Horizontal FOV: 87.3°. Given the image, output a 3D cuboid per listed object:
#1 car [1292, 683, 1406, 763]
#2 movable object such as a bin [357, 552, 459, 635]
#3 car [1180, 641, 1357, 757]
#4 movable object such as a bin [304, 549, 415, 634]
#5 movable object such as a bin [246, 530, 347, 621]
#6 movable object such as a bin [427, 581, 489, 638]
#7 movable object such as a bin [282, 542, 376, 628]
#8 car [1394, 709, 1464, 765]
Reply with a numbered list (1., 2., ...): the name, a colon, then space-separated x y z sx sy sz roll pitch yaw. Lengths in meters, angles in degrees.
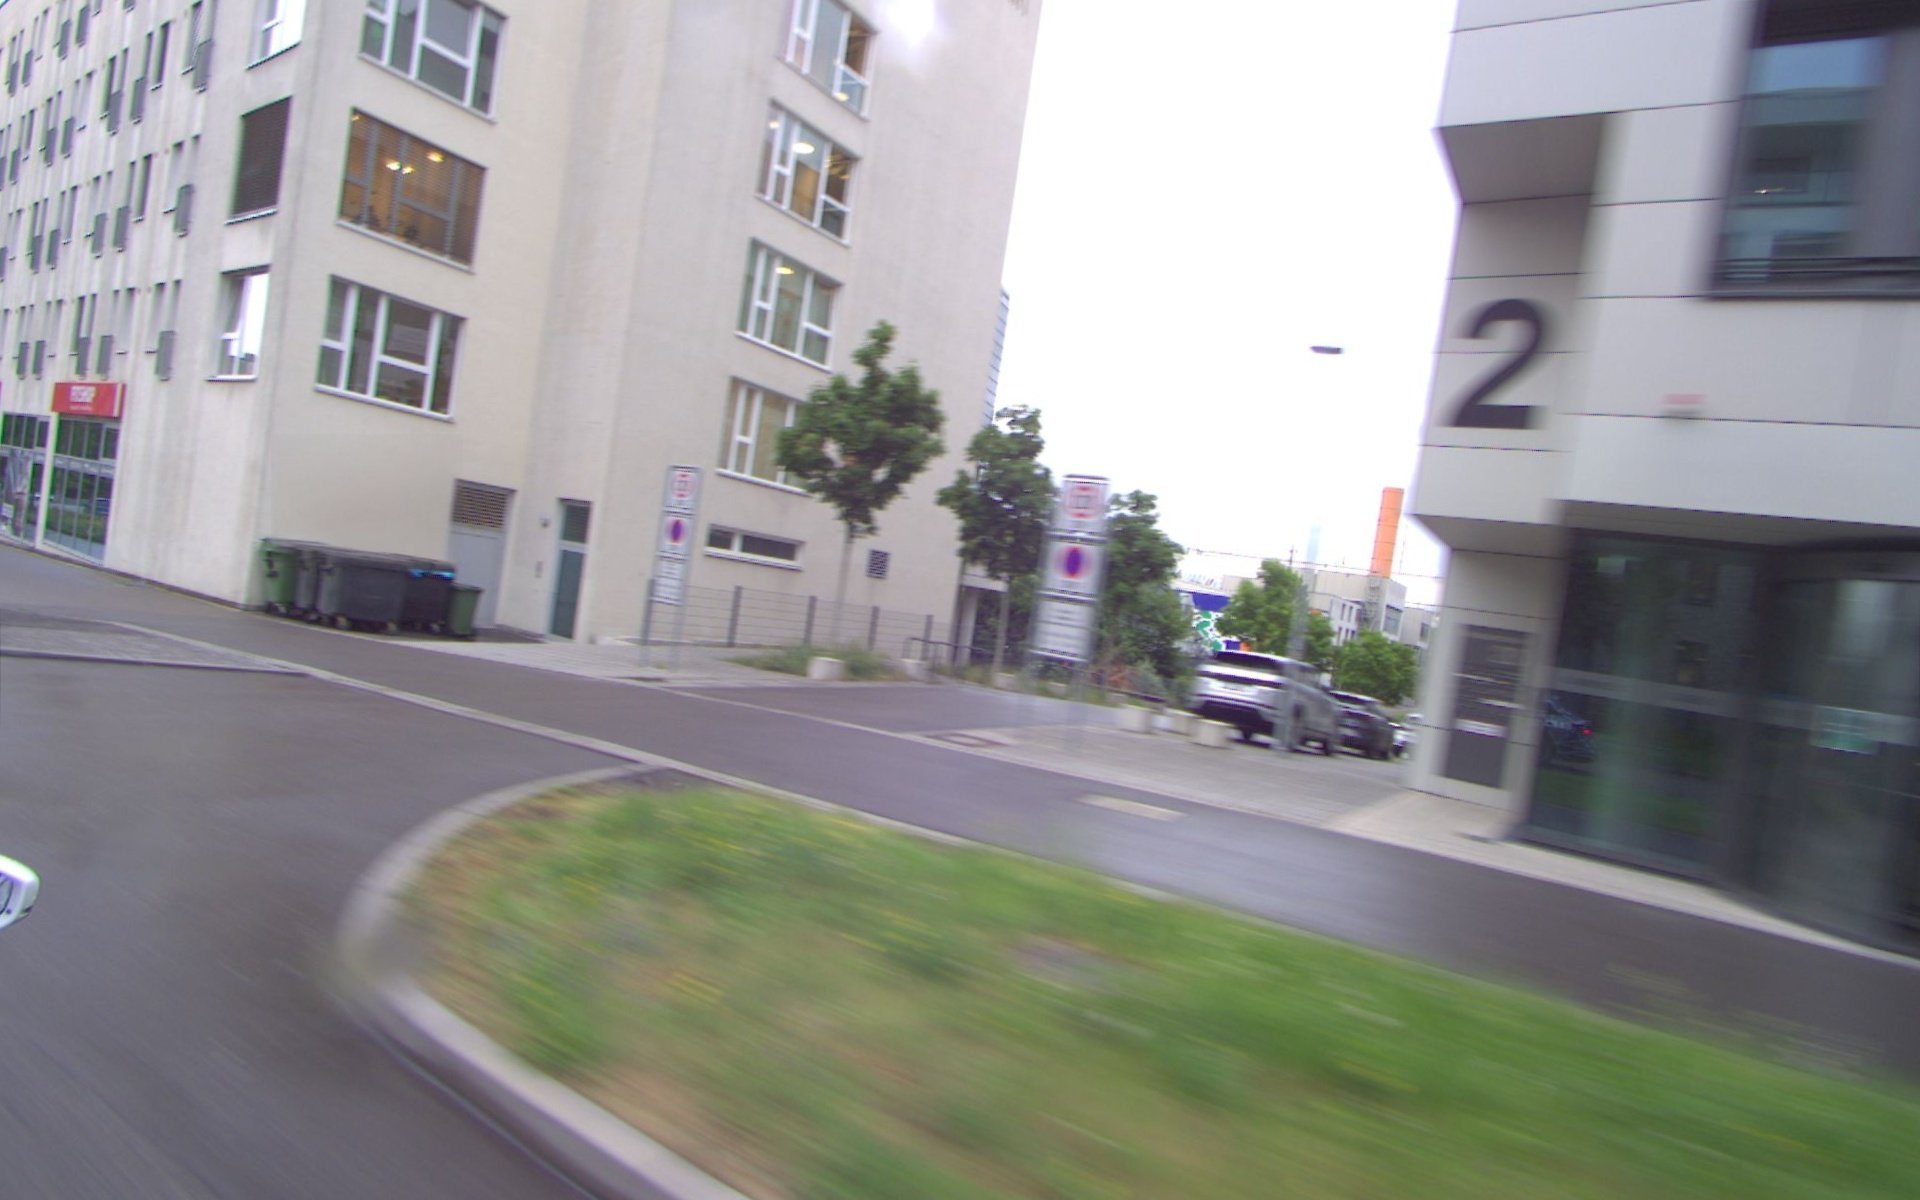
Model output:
1. car: 9.587 2.965 24.623 1.760 1.563 3.993 6 -2 32
2. movable object such as a bin: -10.826 -0.126 19.745 1.094 1.419 1.262 7 -1 34
3. car: 5.767 1.880 18.472 1.864 1.632 3.996 7 -4 34
4. movable object such as a bin: -10.791 -0.139 18.099 1.172 1.336 1.236 6 0 33
5. movable object such as a bin: -12.608 -0.459 19.131 0.997 1.521 1.175 7 0 34
6. movable object such as a bin: -10.272 0.191 20.587 0.839 1.039 0.699 7 0 34
7. movable object such as a bin: -11.705 -0.272 18.670 1.040 1.419 1.022 7 0 34
8. car: 16.329 4.694 34.921 1.637 1.574 3.804 6 -2 32
